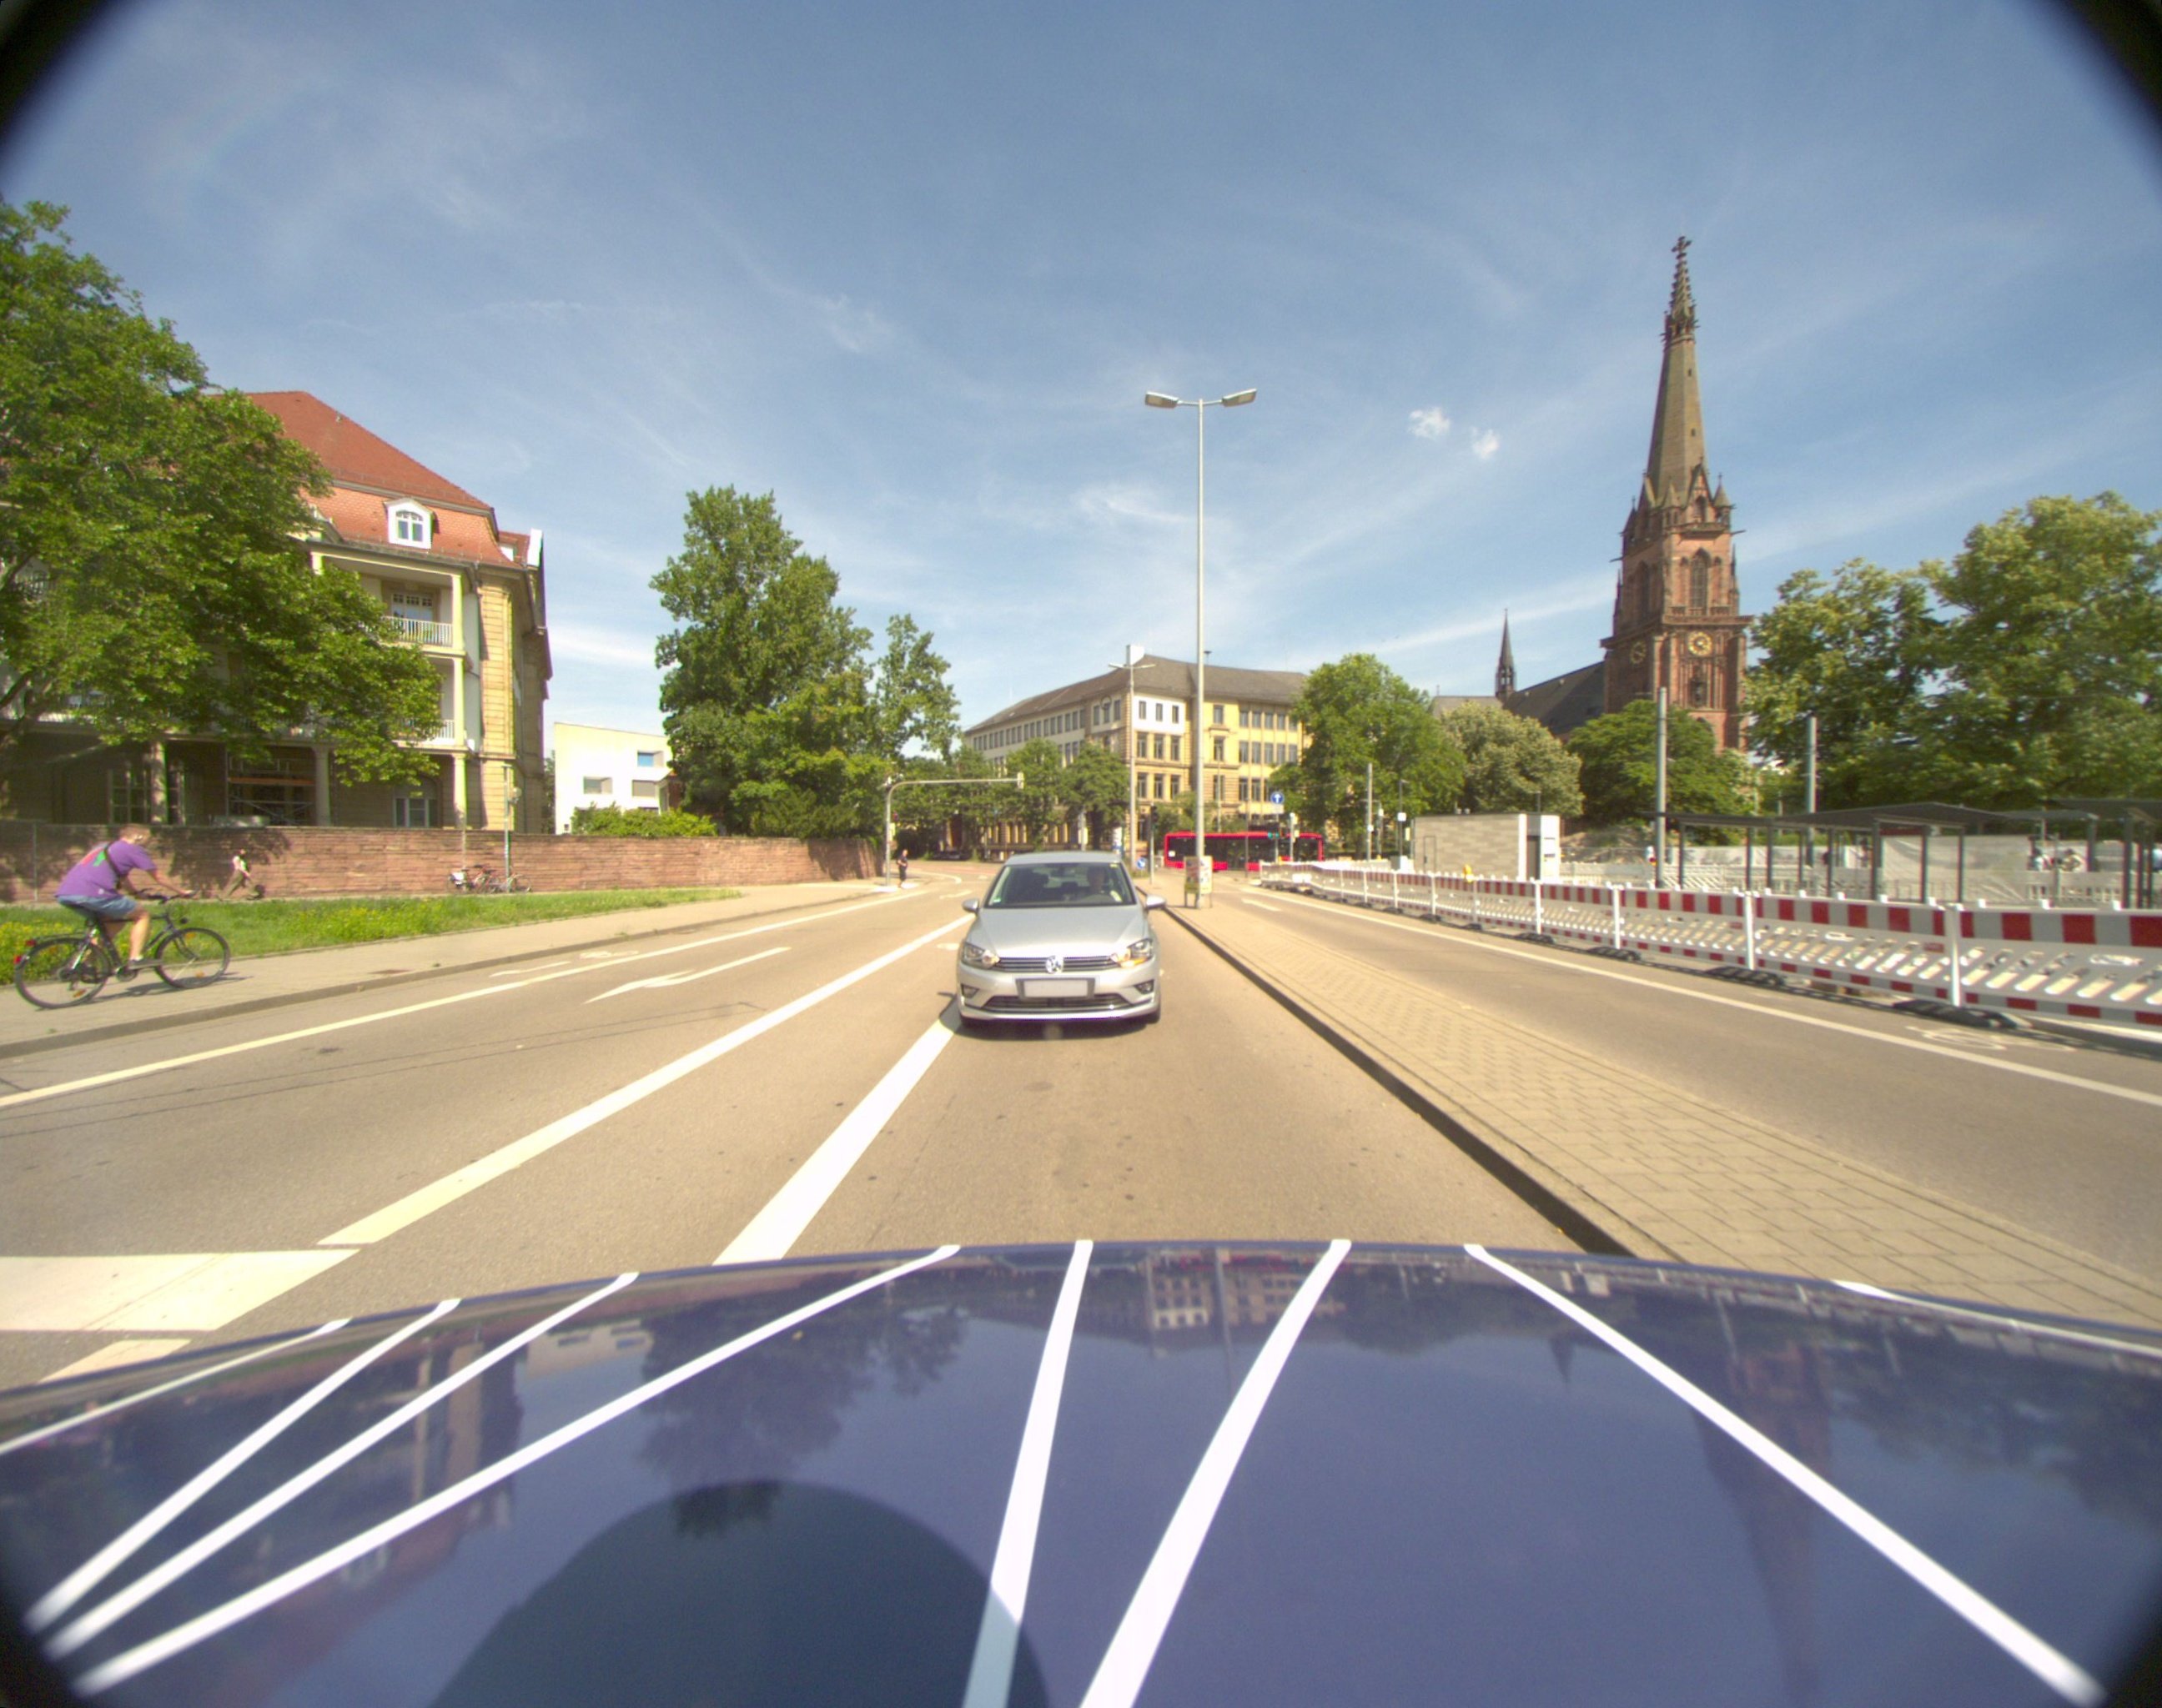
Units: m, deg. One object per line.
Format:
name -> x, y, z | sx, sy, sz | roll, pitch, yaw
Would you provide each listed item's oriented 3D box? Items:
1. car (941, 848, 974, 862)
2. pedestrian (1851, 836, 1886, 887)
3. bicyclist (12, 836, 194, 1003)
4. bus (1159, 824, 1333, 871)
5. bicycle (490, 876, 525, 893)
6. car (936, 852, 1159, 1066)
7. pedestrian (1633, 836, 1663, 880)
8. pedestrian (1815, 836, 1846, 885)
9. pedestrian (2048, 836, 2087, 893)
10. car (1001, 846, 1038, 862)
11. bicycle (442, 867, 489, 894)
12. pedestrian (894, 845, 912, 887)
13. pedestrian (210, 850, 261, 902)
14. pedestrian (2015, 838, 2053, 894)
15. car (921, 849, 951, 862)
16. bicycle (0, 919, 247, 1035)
car -> -17.573, 0.127, 108.135 | 4.006, 1.653, 1.994 | -3, 4, -35
pedestrian -> 31.424, 0.273, 30.331 | 0.688, 2.002, 0.818 | 0, 1, -35
bicyclist -> -10.194, 0.635, 7.971 | 0.488, 1.627, 1.084 | 0, 1, -2
bus -> 12.262, -0.408, 57.245 | 12.381, 3.076, 3.138 | -2, 1, 27
bicycle -> -20.634, 1.090, 27.337 | 0.274, 0.598, 0.950 | 1, 1, 39
car -> -0.160, 0.791, 7.845 | 1.687, 1.577, 4.152 | 0, 1, 3
pedestrian -> 26.235, 0.176, 35.165 | 0.820, 2.002, 0.686 | 1, 1, 3
pedestrian -> 30.809, 0.249, 31.236 | 0.822, 2.002, 0.684 | 0, 1, -33
pedestrian -> 35.020, 0.354, 26.978 | 0.822, 2.002, 0.685 | 0, 1, -30
car -> -7.420, 0.014, 91.667 | 4.006, 1.653, 1.994 | -3, 4, -34
bicycle -> -21.351, 0.916, 26.363 | 0.393, 0.878, 1.230 | 1, 1, 20
pedestrian -> -8.659, 0.585, 36.972 | 0.796, 2.002, 0.615 | 0, 1, -14
pedestrian -> -25.346, 0.648, 22.785 | 0.915, 1.539, 0.502 | -1, 2, -36
pedestrian -> 34.270, 0.414, 27.327 | 0.822, 2.002, 0.685 | 0, 2, -30
car -> -21.719, 0.247, 113.955 | 4.006, 1.653, 1.994 | -3, 4, -34
bicycle -> -10.190, 1.225, 8.005 | 0.685, 0.882, 1.932 | 0, 1, -1
